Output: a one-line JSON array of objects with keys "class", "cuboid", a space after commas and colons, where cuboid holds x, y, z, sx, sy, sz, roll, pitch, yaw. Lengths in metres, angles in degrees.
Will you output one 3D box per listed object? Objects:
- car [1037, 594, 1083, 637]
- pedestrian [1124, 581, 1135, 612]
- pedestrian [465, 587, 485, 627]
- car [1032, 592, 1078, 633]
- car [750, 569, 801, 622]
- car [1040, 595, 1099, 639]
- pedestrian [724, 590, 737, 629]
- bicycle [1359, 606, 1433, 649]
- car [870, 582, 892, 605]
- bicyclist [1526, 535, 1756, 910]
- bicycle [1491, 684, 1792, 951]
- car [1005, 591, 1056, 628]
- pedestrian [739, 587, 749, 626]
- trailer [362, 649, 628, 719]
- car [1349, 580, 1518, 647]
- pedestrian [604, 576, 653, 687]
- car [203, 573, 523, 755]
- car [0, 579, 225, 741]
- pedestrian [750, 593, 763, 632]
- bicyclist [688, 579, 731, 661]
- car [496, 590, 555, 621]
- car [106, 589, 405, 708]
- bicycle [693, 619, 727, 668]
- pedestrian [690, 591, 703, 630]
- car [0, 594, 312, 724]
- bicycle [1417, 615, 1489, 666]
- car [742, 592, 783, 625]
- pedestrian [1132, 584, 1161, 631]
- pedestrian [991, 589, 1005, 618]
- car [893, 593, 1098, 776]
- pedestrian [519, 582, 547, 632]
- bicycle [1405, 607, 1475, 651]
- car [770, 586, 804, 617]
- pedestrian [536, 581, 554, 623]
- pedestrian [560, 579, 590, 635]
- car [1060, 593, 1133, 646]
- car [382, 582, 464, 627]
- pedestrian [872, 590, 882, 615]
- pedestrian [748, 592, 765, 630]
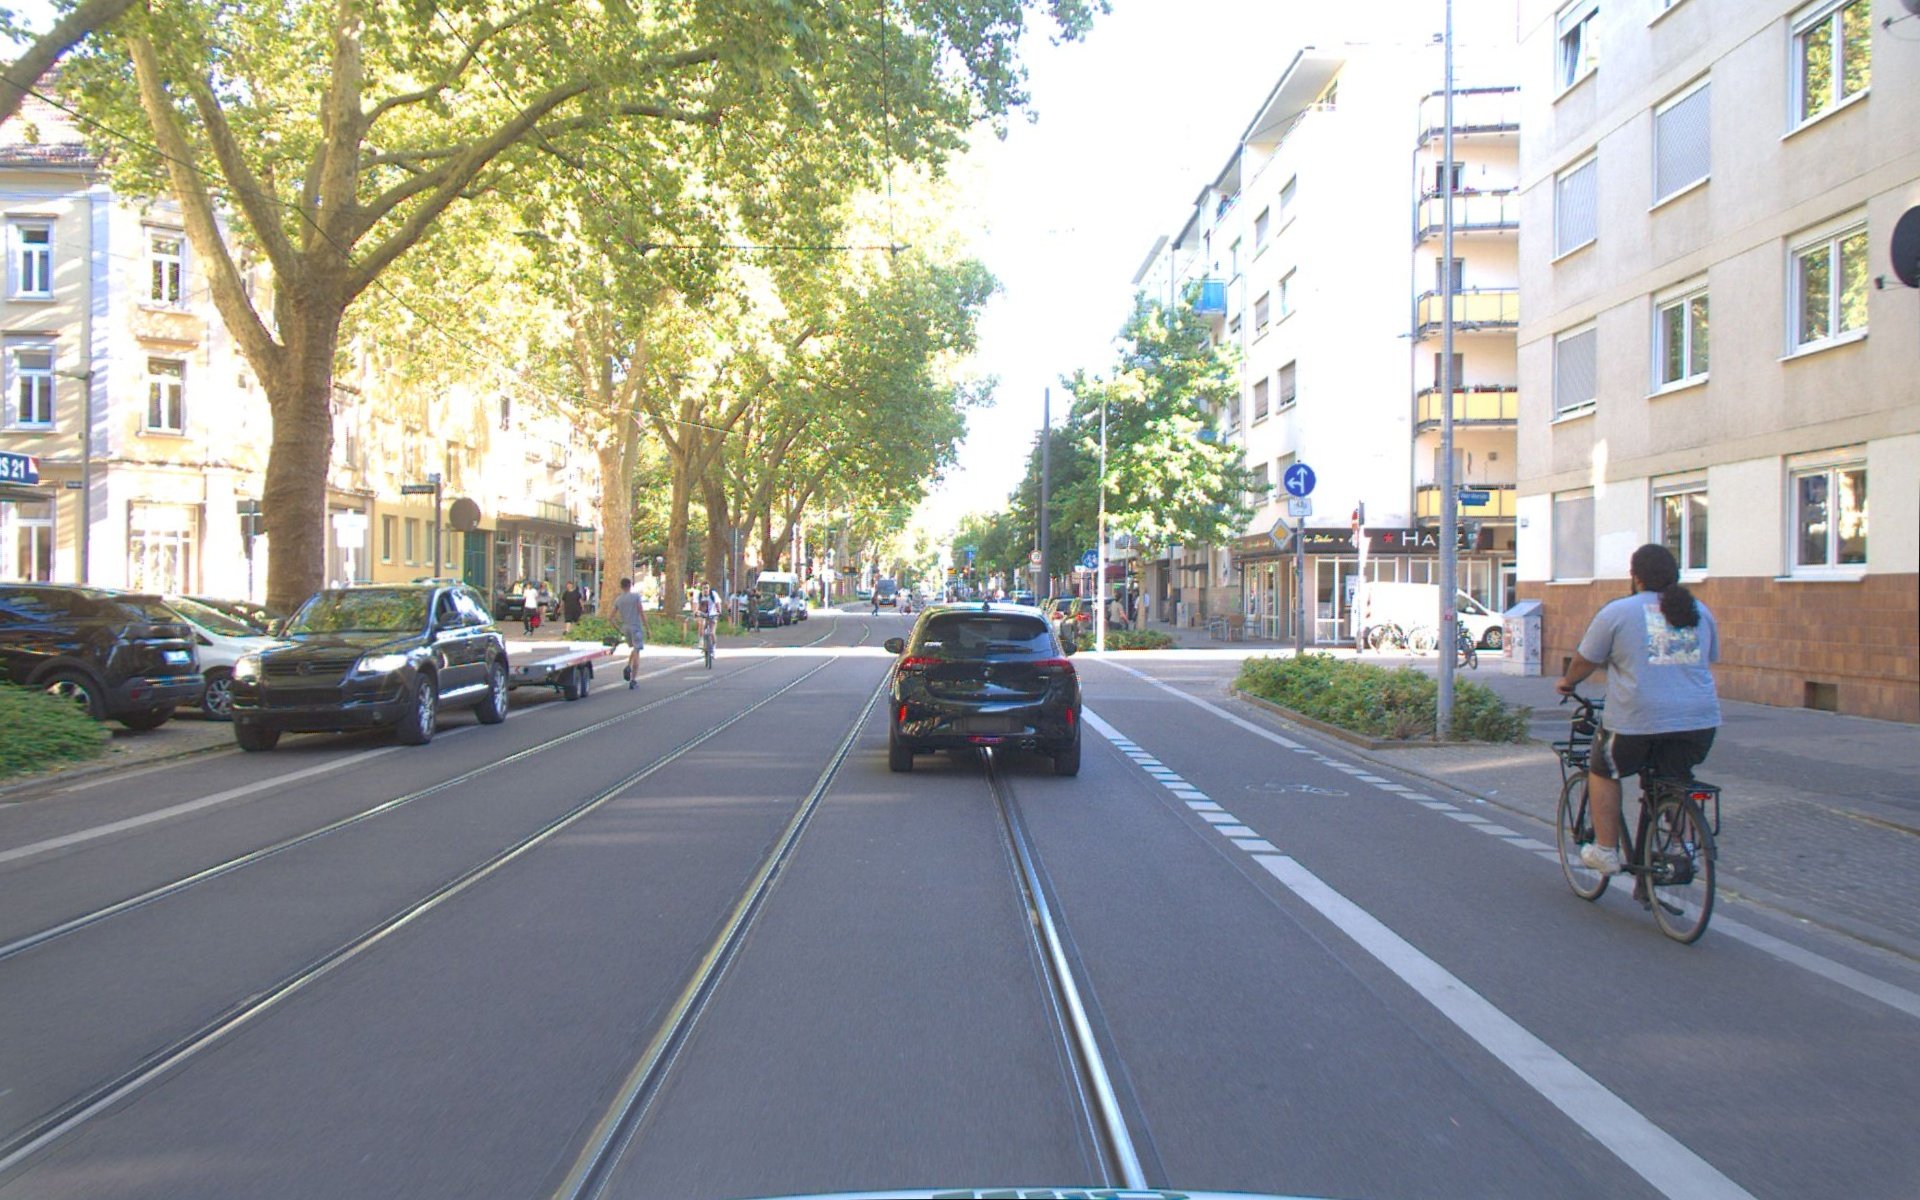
[{"class": "car", "cuboid": [3.752, 0.563, 62.403, 1.617, 1.601, 3.084, 0, 0, 1]}, {"class": "pedestrian", "cuboid": [9.592, -0.196, 93.532, 0.616, 1.763, 0.632, 0, 0, 5]}, {"class": "pedestrian", "cuboid": [-17.613, 0.251, 60.077, 0.540, 1.427, 0.649, 0, 0, 3]}, {"class": "car", "cuboid": [3.775, 0.483, 66.233, 1.682, 1.601, 3.682, 0, 0, 1]}, {"class": "car", "cuboid": [-9.443, -0.237, 85.025, 2.050, 2.629, 5.995, 0, 0, -1]}, {"class": "car", "cuboid": [3.846, 0.576, 58.528, 1.683, 1.516, 3.680, 0, 0, -2]}, {"class": "pedestrian", "cuboid": [-9.537, 0.385, 68.856, 0.497, 1.610, 0.526, 0, 0, -5]}, {"class": "bicycle", "cuboid": [11.703, 0.742, 44.417, 1.797, 1.136, 0.703, 0, 0, 2]}, {"class": "car", "cuboid": [-7.901, -0.651, 165.176, 1.954, 2.250, 5.097, 0, 0, -5]}, {"class": "bicyclist", "cuboid": [3.419, 0.589, 8.376, 0.770, 1.790, 0.914, 0, 0, -1]}, {"class": "bicycle", "cuboid": [3.456, 1.052, 8.604, 0.687, 1.111, 1.989, 2, 0, -1]}, {"class": "car", "cuboid": [3.260, 0.441, 77.191, 1.954, 1.668, 3.996, 0, 0, -5]}, {"class": "pedestrian", "cuboid": [-9.022, 0.284, 69.040, 0.339, 1.610, 0.508, 0, 0, -3]}, {"class": "trailer", "cuboid": [-6.453, 1.146, 23.875, 2.117, 0.643, 6.399, 0, 0, -1]}, {"class": "car", "cuboid": [13.576, 0.378, 47.558, 4.273, 1.863, 1.998, 0, 0, -5]}, {"class": "pedestrian", "cuboid": [-5.429, 0.500, 27.035, 0.699, 1.765, 0.909, -1, 0, -15]}, {"class": "car", "cuboid": [-6.431, 0.611, 18.432, 1.953, 1.730, 4.484, -1, 0, -1]}, {"class": "car", "cuboid": [-10.386, 0.612, 18.021, 3.907, 1.676, 1.893, 0, 0, -2]}, {"class": "pedestrian", "cuboid": [-8.493, 0.504, 69.034, 0.496, 1.610, 0.526, 0, 0, -1]}, {"class": "bicyclist", "cuboid": [-5.275, 0.420, 34.875, 0.768, 1.707, 0.957, 0, 0, -1]}, {"class": "car", "cuboid": [-19.251, 0.241, 73.346, 1.660, 1.298, 3.827, 0, 1, -1]}, {"class": "car", "cuboid": [-9.574, 0.632, 22.694, 3.363, 1.557, 1.786, 0, 0, -4]}, {"class": "bicycle", "cuboid": [-5.255, 0.900, 34.858, 0.510, 0.979, 1.928, 0, 0, -2]}, {"class": "pedestrian", "cuboid": [-11.014, 0.433, 69.141, 0.498, 1.610, 0.525, 0, 0, -15]}, {"class": "car", "cuboid": [-10.418, 0.705, 20.697, 3.907, 1.548, 1.770, 0, 0, -2]}, {"class": "bicycle", "cuboid": [10.585, 0.864, 35.583, 0.787, 1.033, 1.966, 0, 0, -6]}, {"class": "car", "cuboid": [-9.373, 0.372, 78.682, 1.719, 1.534, 3.997, 0, 0, -4]}, {"class": "pedestrian", "cuboid": [7.112, 0.286, 63.069, 0.787, 1.779, 0.760, 0, 0, -38]}, {"class": "pedestrian", "cuboid": [2.738, 0.249, 118.992, 0.839, 2.048, 1.069, -4, -1, 0]}, {"class": "car", "cuboid": [0.254, 0.691, 15.369, 1.646, 1.447, 3.627, 2, 0, -1]}, {"class": "pedestrian", "cuboid": [-14.381, 0.225, 55.686, 0.830, 1.661, 0.643, 0, 0, -7]}, {"class": "bicycle", "cuboid": [12.550, 0.753, 43.291, 1.734, 1.136, 0.614, 0, 0, 12]}, {"class": "car", "cuboid": [-10.025, 0.059, 95.756, 1.955, 1.747, 3.995, 0, 0, -6]}, {"class": "pedestrian", "cuboid": [-16.713, 0.096, 66.605, 0.540, 1.681, 0.649, 0, 0, 3]}, {"class": "pedestrian", "cuboid": [-13.090, 0.247, 56.243, 0.887, 1.901, 0.643, 0, 0, -7]}, {"class": "car", "cuboid": [4.293, 0.582, 52.536, 1.684, 1.601, 4.081, 0, 0, -5]}, {"class": "car", "cuboid": [-19.445, 0.148, 60.069, 1.647, 1.543, 4.000, 1, 0, 0]}, {"class": "pedestrian", "cuboid": [-5.429, 0.138, 107.806, 0.583, 1.618, 0.892, 0, 0, -8]}, {"class": "pedestrian", "cuboid": [-8.592, 0.454, 69.733, 0.670, 1.610, 0.557, 0, 0, -3]}]
